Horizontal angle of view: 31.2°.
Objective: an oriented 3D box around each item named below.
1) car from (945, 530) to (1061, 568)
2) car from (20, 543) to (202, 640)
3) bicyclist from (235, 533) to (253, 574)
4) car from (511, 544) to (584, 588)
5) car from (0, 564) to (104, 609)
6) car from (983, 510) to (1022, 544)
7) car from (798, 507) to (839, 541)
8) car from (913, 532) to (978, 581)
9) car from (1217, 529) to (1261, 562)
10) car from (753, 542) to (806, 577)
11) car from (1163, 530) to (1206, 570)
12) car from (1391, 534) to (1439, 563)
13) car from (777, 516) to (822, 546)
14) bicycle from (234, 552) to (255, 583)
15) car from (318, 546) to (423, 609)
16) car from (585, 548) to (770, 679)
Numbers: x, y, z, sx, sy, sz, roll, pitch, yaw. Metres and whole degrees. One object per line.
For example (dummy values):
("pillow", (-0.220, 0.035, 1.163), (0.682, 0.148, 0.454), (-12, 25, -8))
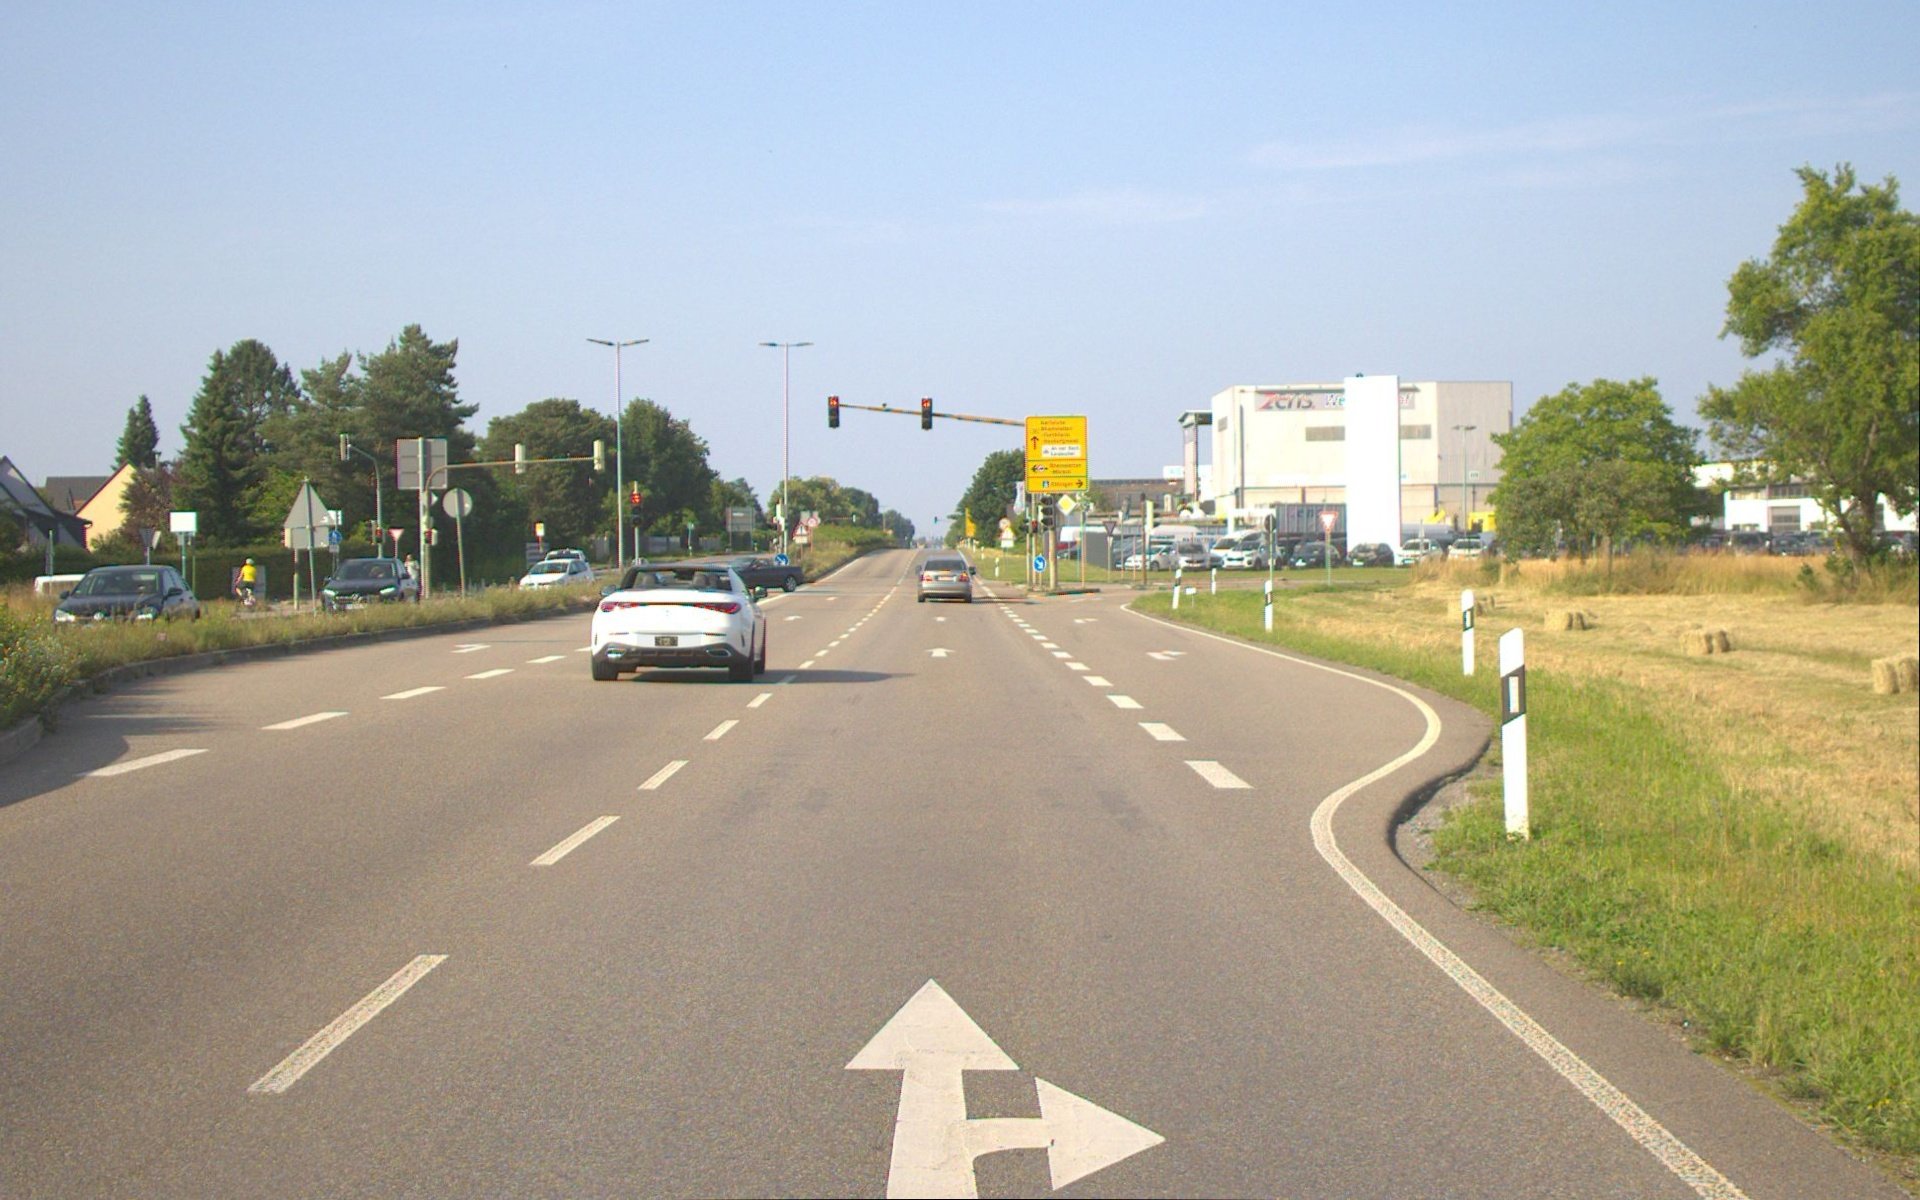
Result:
("car", (1.652, -1.975, 132.283), (3.986, 1.403, 1.955), (0, 1, -20))
("car", (-13.882, -0.174, 56.437), (1.993, 1.481, 4.227), (1, 1, -1))
("bicyclist", (-23.586, -1.523, 113.287), (0.455, 1.347, 0.552), (-1, 1, -3))
("car", (-13.750, -1.161, 114.816), (1.993, 1.393, 4.000), (1, 1, -1))
("car", (-32.427, -0.485, 121.156), (4.182, 1.517, 2.001), (0, 1, -8))
("car", (2.274, -3.891, 182.439), (1.993, 1.751, 4.000), (1, 1, 1))
("car", (-7.489, -4.012, 182.416), (1.947, 1.766, 4.000), (1, 1, 1))
("car", (-0.477, -1.392, 108.610), (1.993, 1.481, 4.000), (1, 1, -1))
("car", (14.368, -2.817, 177.340), (1.993, 1.638, 4.000), (1, 1, 1))
("car", (-7.506, -1.707, 143.336), (1.947, 1.403, 4.000), (1, 1, 1))
("car", (11.554, -2.607, 177.154), (1.993, 2.007, 4.000), (1, 1, 1))
("car", (23.530, -2.686, 177.838), (1.993, 1.437, 4.000), (1, 1, 1))
("car", (-7.851, -3.374, 168.142), (1.947, 1.403, 4.000), (1, 1, 1))
("bicycle", (-23.593, -1.074, 113.358), (0.407, 1.011, 1.604), (-1, 1, -3))
("car", (-13.782, -0.543, 80.490), (1.729, 1.403, 4.000), (1, 1, 1))
("car", (-3.273, 0.118, 40.543), (1.909, 1.417, 4.000), (1, 1, -1))
